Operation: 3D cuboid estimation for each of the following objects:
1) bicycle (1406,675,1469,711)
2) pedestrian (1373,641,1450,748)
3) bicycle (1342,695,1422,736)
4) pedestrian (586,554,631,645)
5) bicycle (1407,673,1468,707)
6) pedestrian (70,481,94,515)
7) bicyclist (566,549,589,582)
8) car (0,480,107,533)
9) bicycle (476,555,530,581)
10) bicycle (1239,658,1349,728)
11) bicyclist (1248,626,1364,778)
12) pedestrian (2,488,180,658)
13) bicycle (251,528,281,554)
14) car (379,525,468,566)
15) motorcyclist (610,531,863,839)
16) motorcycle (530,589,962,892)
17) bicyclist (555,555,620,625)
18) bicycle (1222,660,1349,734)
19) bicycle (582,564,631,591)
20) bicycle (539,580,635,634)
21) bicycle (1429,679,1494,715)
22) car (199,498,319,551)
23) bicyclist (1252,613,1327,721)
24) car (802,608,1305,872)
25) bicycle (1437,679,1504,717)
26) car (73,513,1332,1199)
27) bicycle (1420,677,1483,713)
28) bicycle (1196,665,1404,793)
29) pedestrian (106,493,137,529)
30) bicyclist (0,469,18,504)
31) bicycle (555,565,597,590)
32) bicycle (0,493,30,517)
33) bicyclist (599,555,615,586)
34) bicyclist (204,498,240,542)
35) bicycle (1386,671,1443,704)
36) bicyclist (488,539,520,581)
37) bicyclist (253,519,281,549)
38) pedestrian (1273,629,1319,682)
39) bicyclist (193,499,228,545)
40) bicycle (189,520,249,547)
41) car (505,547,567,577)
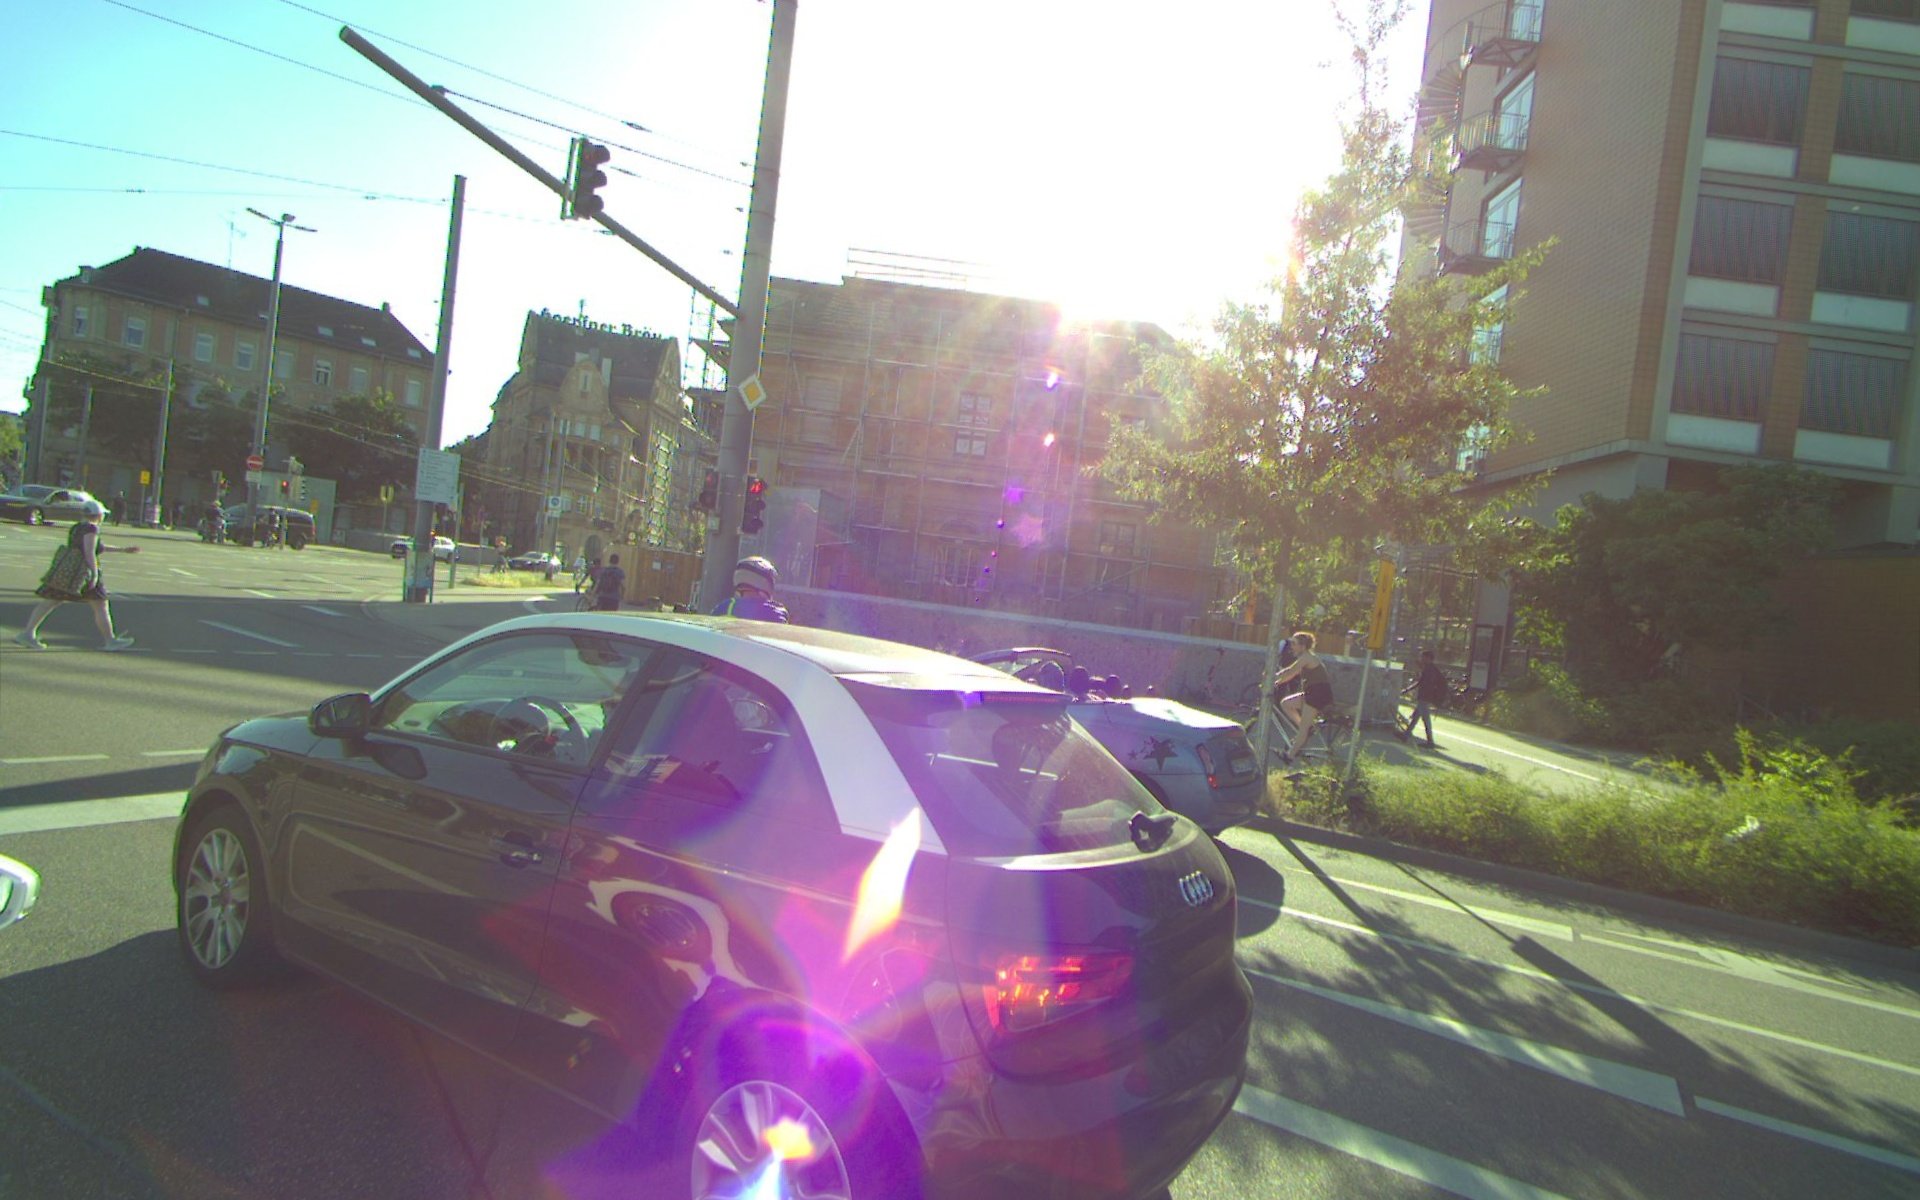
[{"bbox_3d":[15.047,2.928,31.723,1.623,0.868,0.529,7,1,1],"label":"bicycle"},{"bbox_3d":[7.781,1.627,17.341,0.803,1.678,0.781,9,-2,-42],"label":"pedestrian"},{"bbox_3d":[8.101,2.215,19.337,1.332,0.547,0.430,7,2,18],"label":"bicycle"},{"bbox_3d":[-6.960,-0.019,19.909,0.688,1.694,0.825,5,2,-20],"label":"pedestrian"},{"bbox_3d":[15.515,2.917,32.717,1.623,0.868,0.529,7,1,1],"label":"bicycle"},{"bbox_3d":[-46.708,-5.428,53.523,0.547,1.674,0.640,6,1,-6],"label":"pedestrian"},{"bbox_3d":[-22.019,-1.991,57.935,0.844,1.711,0.651,9,1,14],"label":"bicyclist"},{"bbox_3d":[-33.770,-3.441,36.698,1.919,1.504,4.098,7,0,-6],"label":"car"},{"bbox_3d":[-20.485,-1.427,45.155,0.844,0.885,2.503,9,0,11],"label":"bicycle"},{"bbox_3d":[6.278,1.734,19.026,0.621,1.052,1.946,4,2,-32],"label":"bicycle"},{"bbox_3d":[4.312,1.227,12.541,1.075,1.700,0.778,7,4,30],"label":"bicyclist"},{"bbox_3d":[-9.193,-0.253,10.679,0.686,1.626,1.096,9,1,21],"label":"pedestrian"},{"bbox_3d":[-30.652,-2.631,44.412,0.854,0.916,2.278,8,0,-38],"label":"bicycle"},{"bbox_3d":[-31.688,-3.178,59.619,1.916,1.821,4.853,7,0,11],"label":"car"},{"bbox_3d":[-1.422,0.520,6.528,0.921,1.742,1.097,7,0,33],"label":"motorcyclist"},{"bbox_3d":[-1.444,0.786,6.520,2.610,1.394,1.097,6,-1,33],"label":"motorcycle"},{"bbox_3d":[-8.266,-0.219,22.317,1.058,1.401,0.721,6,-1,32],"label":"bicyclist"},{"bbox_3d":[5.843,1.716,18.125,1.935,1.052,0.788,6,2,40],"label":"bicycle"},{"bbox_3d":[-20.197,-1.273,57.469,2.469,1.147,0.855,9,1,-22],"label":"bicycle"},{"bbox_3d":[-8.277,0.153,22.296,2.212,0.964,0.721,5,-1,32],"label":"bicycle"},{"bbox_3d":[15.206,2.932,30.514,1.623,0.868,0.529,7,1,1],"label":"bicycle"},{"bbox_3d":[-33.353,-3.542,48.062,1.917,1.917,4.851,7,0,4],"label":"car"},{"bbox_3d":[5.927,1.197,18.072,0.881,1.809,0.786,7,1,40],"label":"bicyclist"},{"bbox_3d":[0.743,1.076,8.894,3.914,1.461,1.803,7,-1,34],"label":"car"},{"bbox_3d":[15.196,2.916,29.952,1.623,0.868,0.529,7,1,1],"label":"bicycle"},{"bbox_3d":[-1.013,0.694,3.438,3.911,1.461,1.804,7,-1,31],"label":"car"},{"bbox_3d":[15.184,2.932,31.096,1.623,0.868,0.529,7,1,1],"label":"bicycle"},{"bbox_3d":[4.231,1.559,12.596,2.252,1.172,0.778,7,3,30],"label":"bicycle"},{"bbox_3d":[-43.477,-4.606,52.146,0.770,1.697,0.925,7,1,32],"label":"pedestrian"},{"bbox_3d":[-47.127,-5.613,49.287,0.844,1.578,0.927,9,1,9],"label":"bicyclist"},{"bbox_3d":[-22.124,-1.283,57.977,0.844,1.147,2.502,9,0,14],"label":"bicycle"},{"bbox_3d":[-47.255,-4.748,49.323,0.844,0.991,2.305,9,0,9],"label":"bicycle"},{"bbox_3d":[-20.179,-1.693,57.445,0.642,1.711,0.856,8,1,-21],"label":"bicyclist"},{"bbox_3d":[-31.458,-3.405,42.871,0.845,1.711,0.651,8,1,-4],"label":"bicyclist"},{"bbox_3d":[15.393,2.952,34.092,1.623,0.868,0.529,7,1,1],"label":"bicycle"},{"bbox_3d":[-20.444,-1.787,45.089,0.844,1.711,0.748,9,1,11],"label":"bicyclist"},{"bbox_3d":[-30.551,-2.903,44.320,0.854,1.191,0.707,8,1,-39],"label":"bicyclist"},{"bbox_3d":[13.930,2.303,41.742,1.285,2.039,0.988,6,1,-30],"label":"pedestrian"},{"bbox_3d":[-31.439,-3.278,42.218,0.851,1.800,0.584,7,1,-2],"label":"bicyclist"},{"bbox_3d":[-31.528,-2.815,42.838,0.845,0.916,2.302,9,0,-3],"label":"bicycle"},{"bbox_3d":[-30.161,-2.645,71.659,1.915,1.582,4.360,9,0,8],"label":"car"}]
